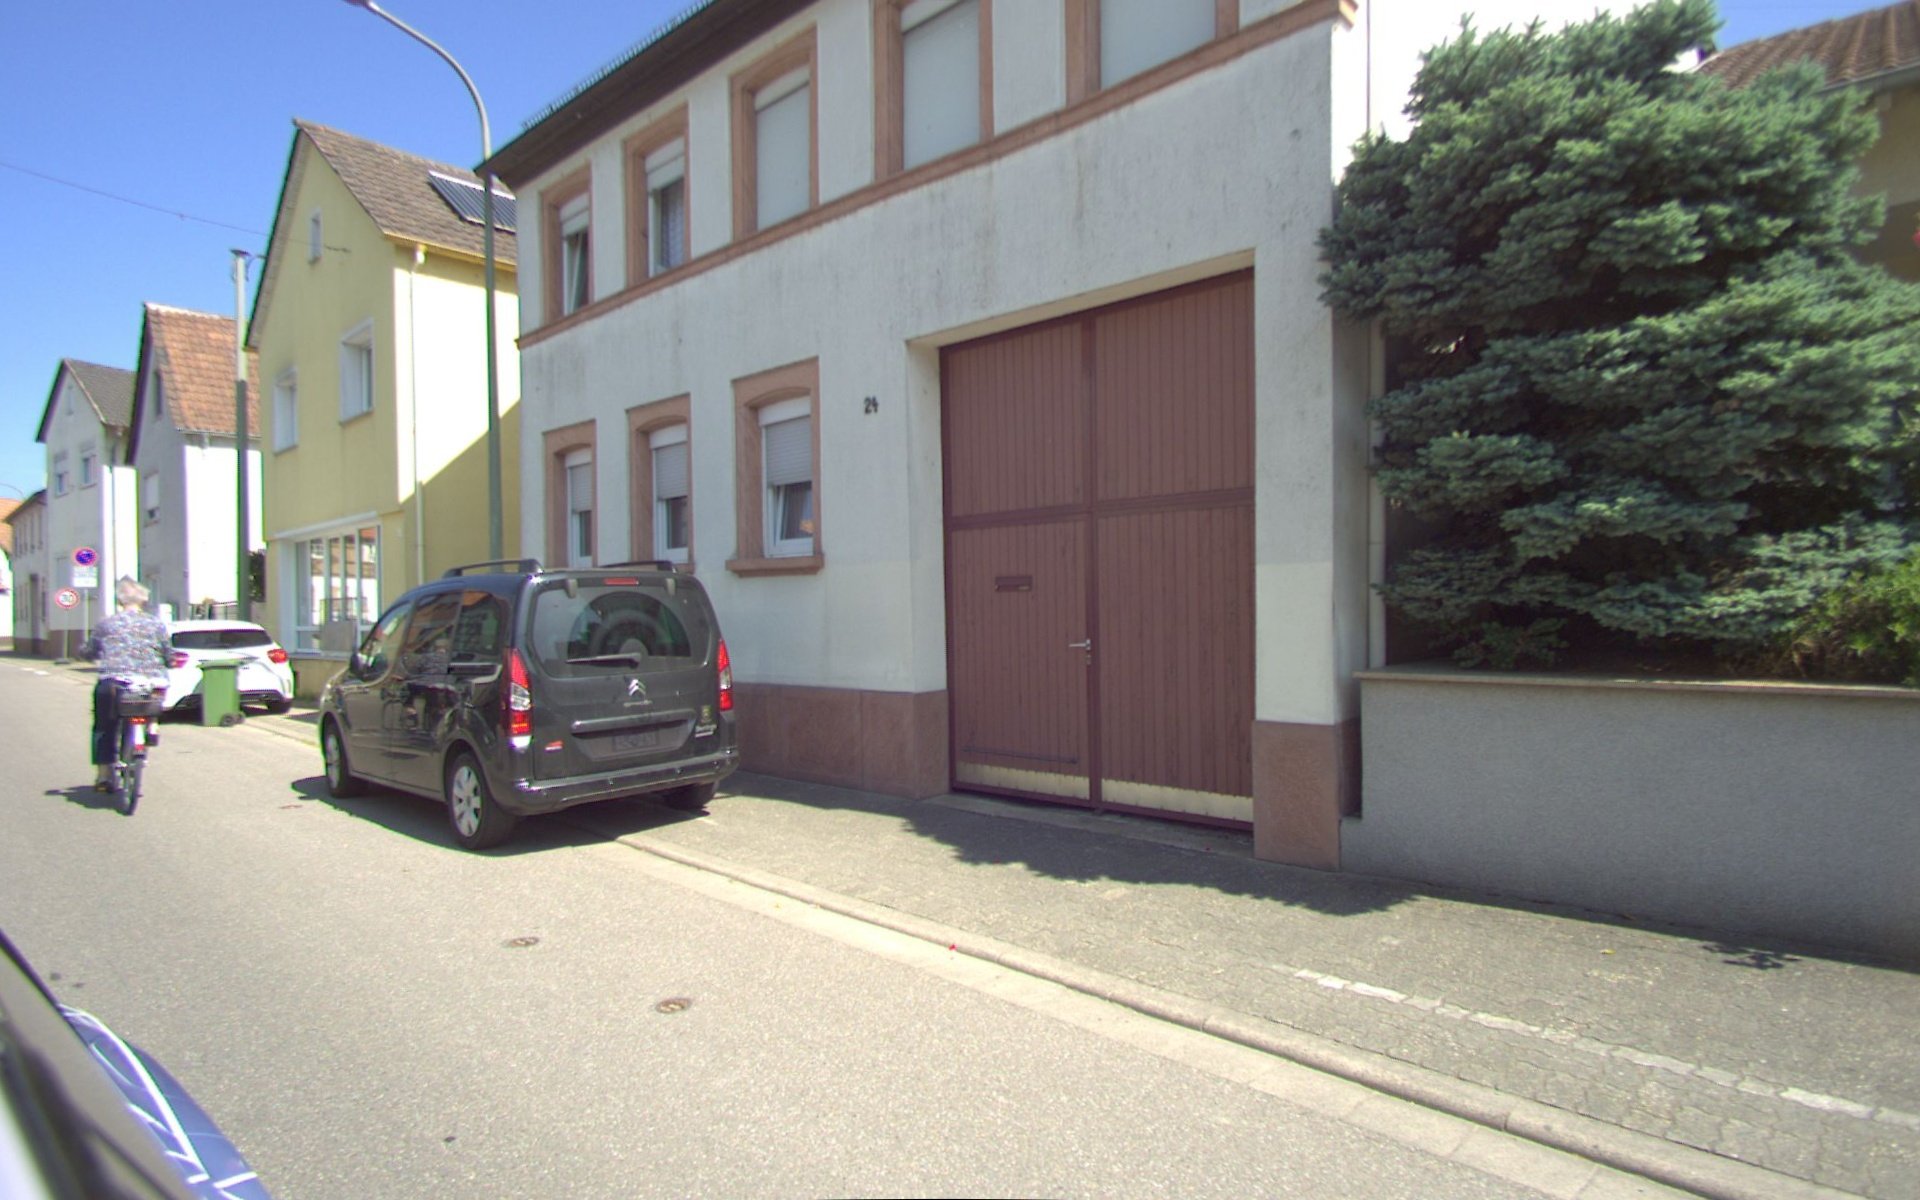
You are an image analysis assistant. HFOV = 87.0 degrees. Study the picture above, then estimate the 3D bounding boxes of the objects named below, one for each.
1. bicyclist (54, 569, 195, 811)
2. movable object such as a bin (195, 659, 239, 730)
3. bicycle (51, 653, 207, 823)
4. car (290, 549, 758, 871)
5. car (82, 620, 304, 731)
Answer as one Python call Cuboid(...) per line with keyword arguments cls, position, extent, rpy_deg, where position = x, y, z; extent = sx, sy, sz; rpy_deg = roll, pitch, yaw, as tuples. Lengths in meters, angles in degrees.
Cuboid(cls="bicyclist", position=(-6.533, 0.662, 7.921), extent=(0.624, 1.784, 0.697), rpy_deg=(-2, 0, 39))
Cuboid(cls="movable object such as a bin", position=(-10.204, 1.289, 13.911), extent=(0.419, 0.911, 0.497), rpy_deg=(-1, -1, -29))
Cuboid(cls="bicycle", position=(-6.592, 1.020, 7.994), extent=(1.946, 1.157, 0.583), rpy_deg=(-2, -2, 39))
Cuboid(cls="car", position=(-3.639, 0.667, 7.989), extent=(4.354, 1.851, 1.814), rpy_deg=(-2, -1, 43))
Cuboid(cls="car", position=(-11.966, 1.074, 15.691), extent=(4.266, 1.475, 1.816), rpy_deg=(-2, -2, 39))
